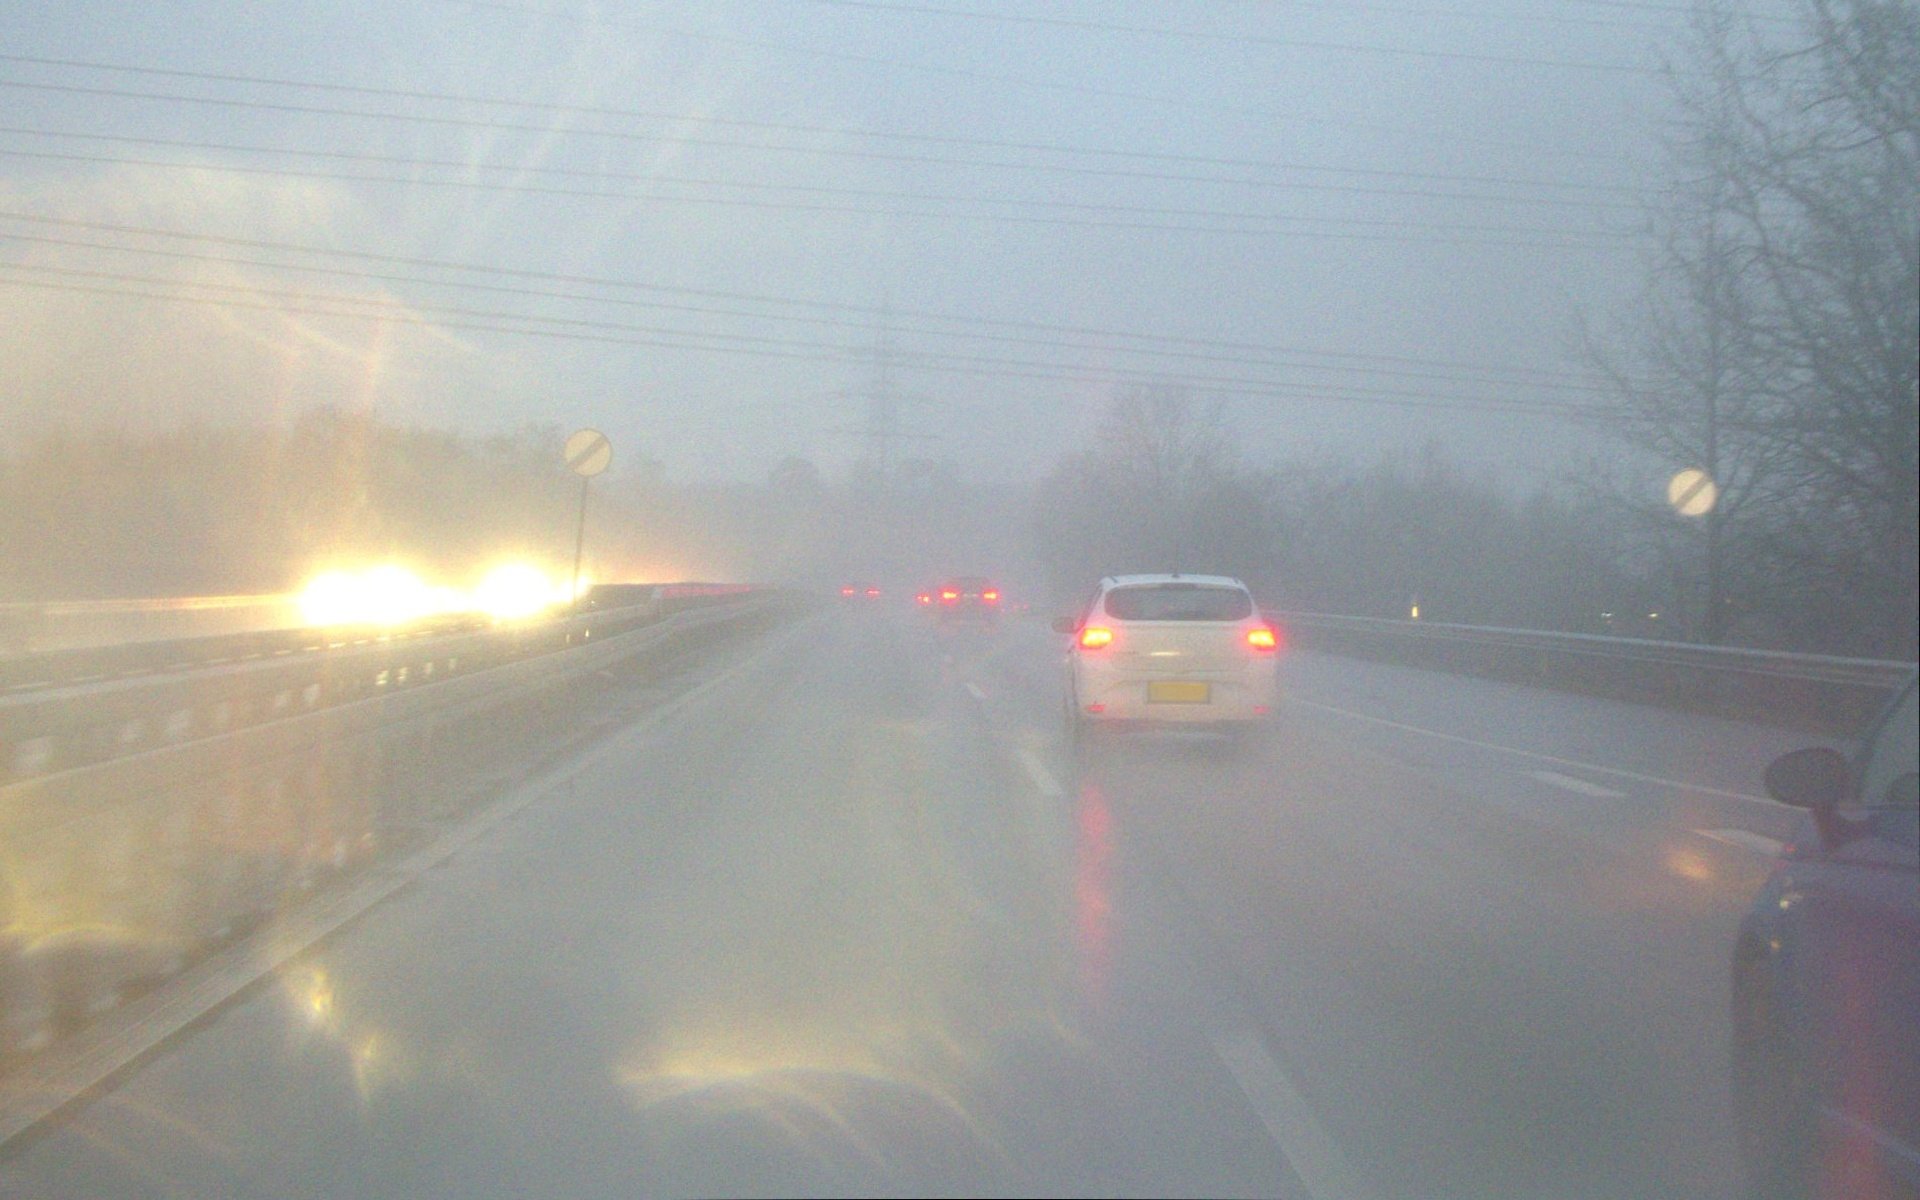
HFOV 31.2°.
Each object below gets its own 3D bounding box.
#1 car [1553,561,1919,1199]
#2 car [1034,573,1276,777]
[{"bbox_3d":[2.755,0.676,8.226,1.845,1.448,4.149,0,2,-1],"label":"car"},{"bbox_3d":[1.661,0.608,30.433,1.845,1.630,3.768,1,1,-1],"label":"car"}]
